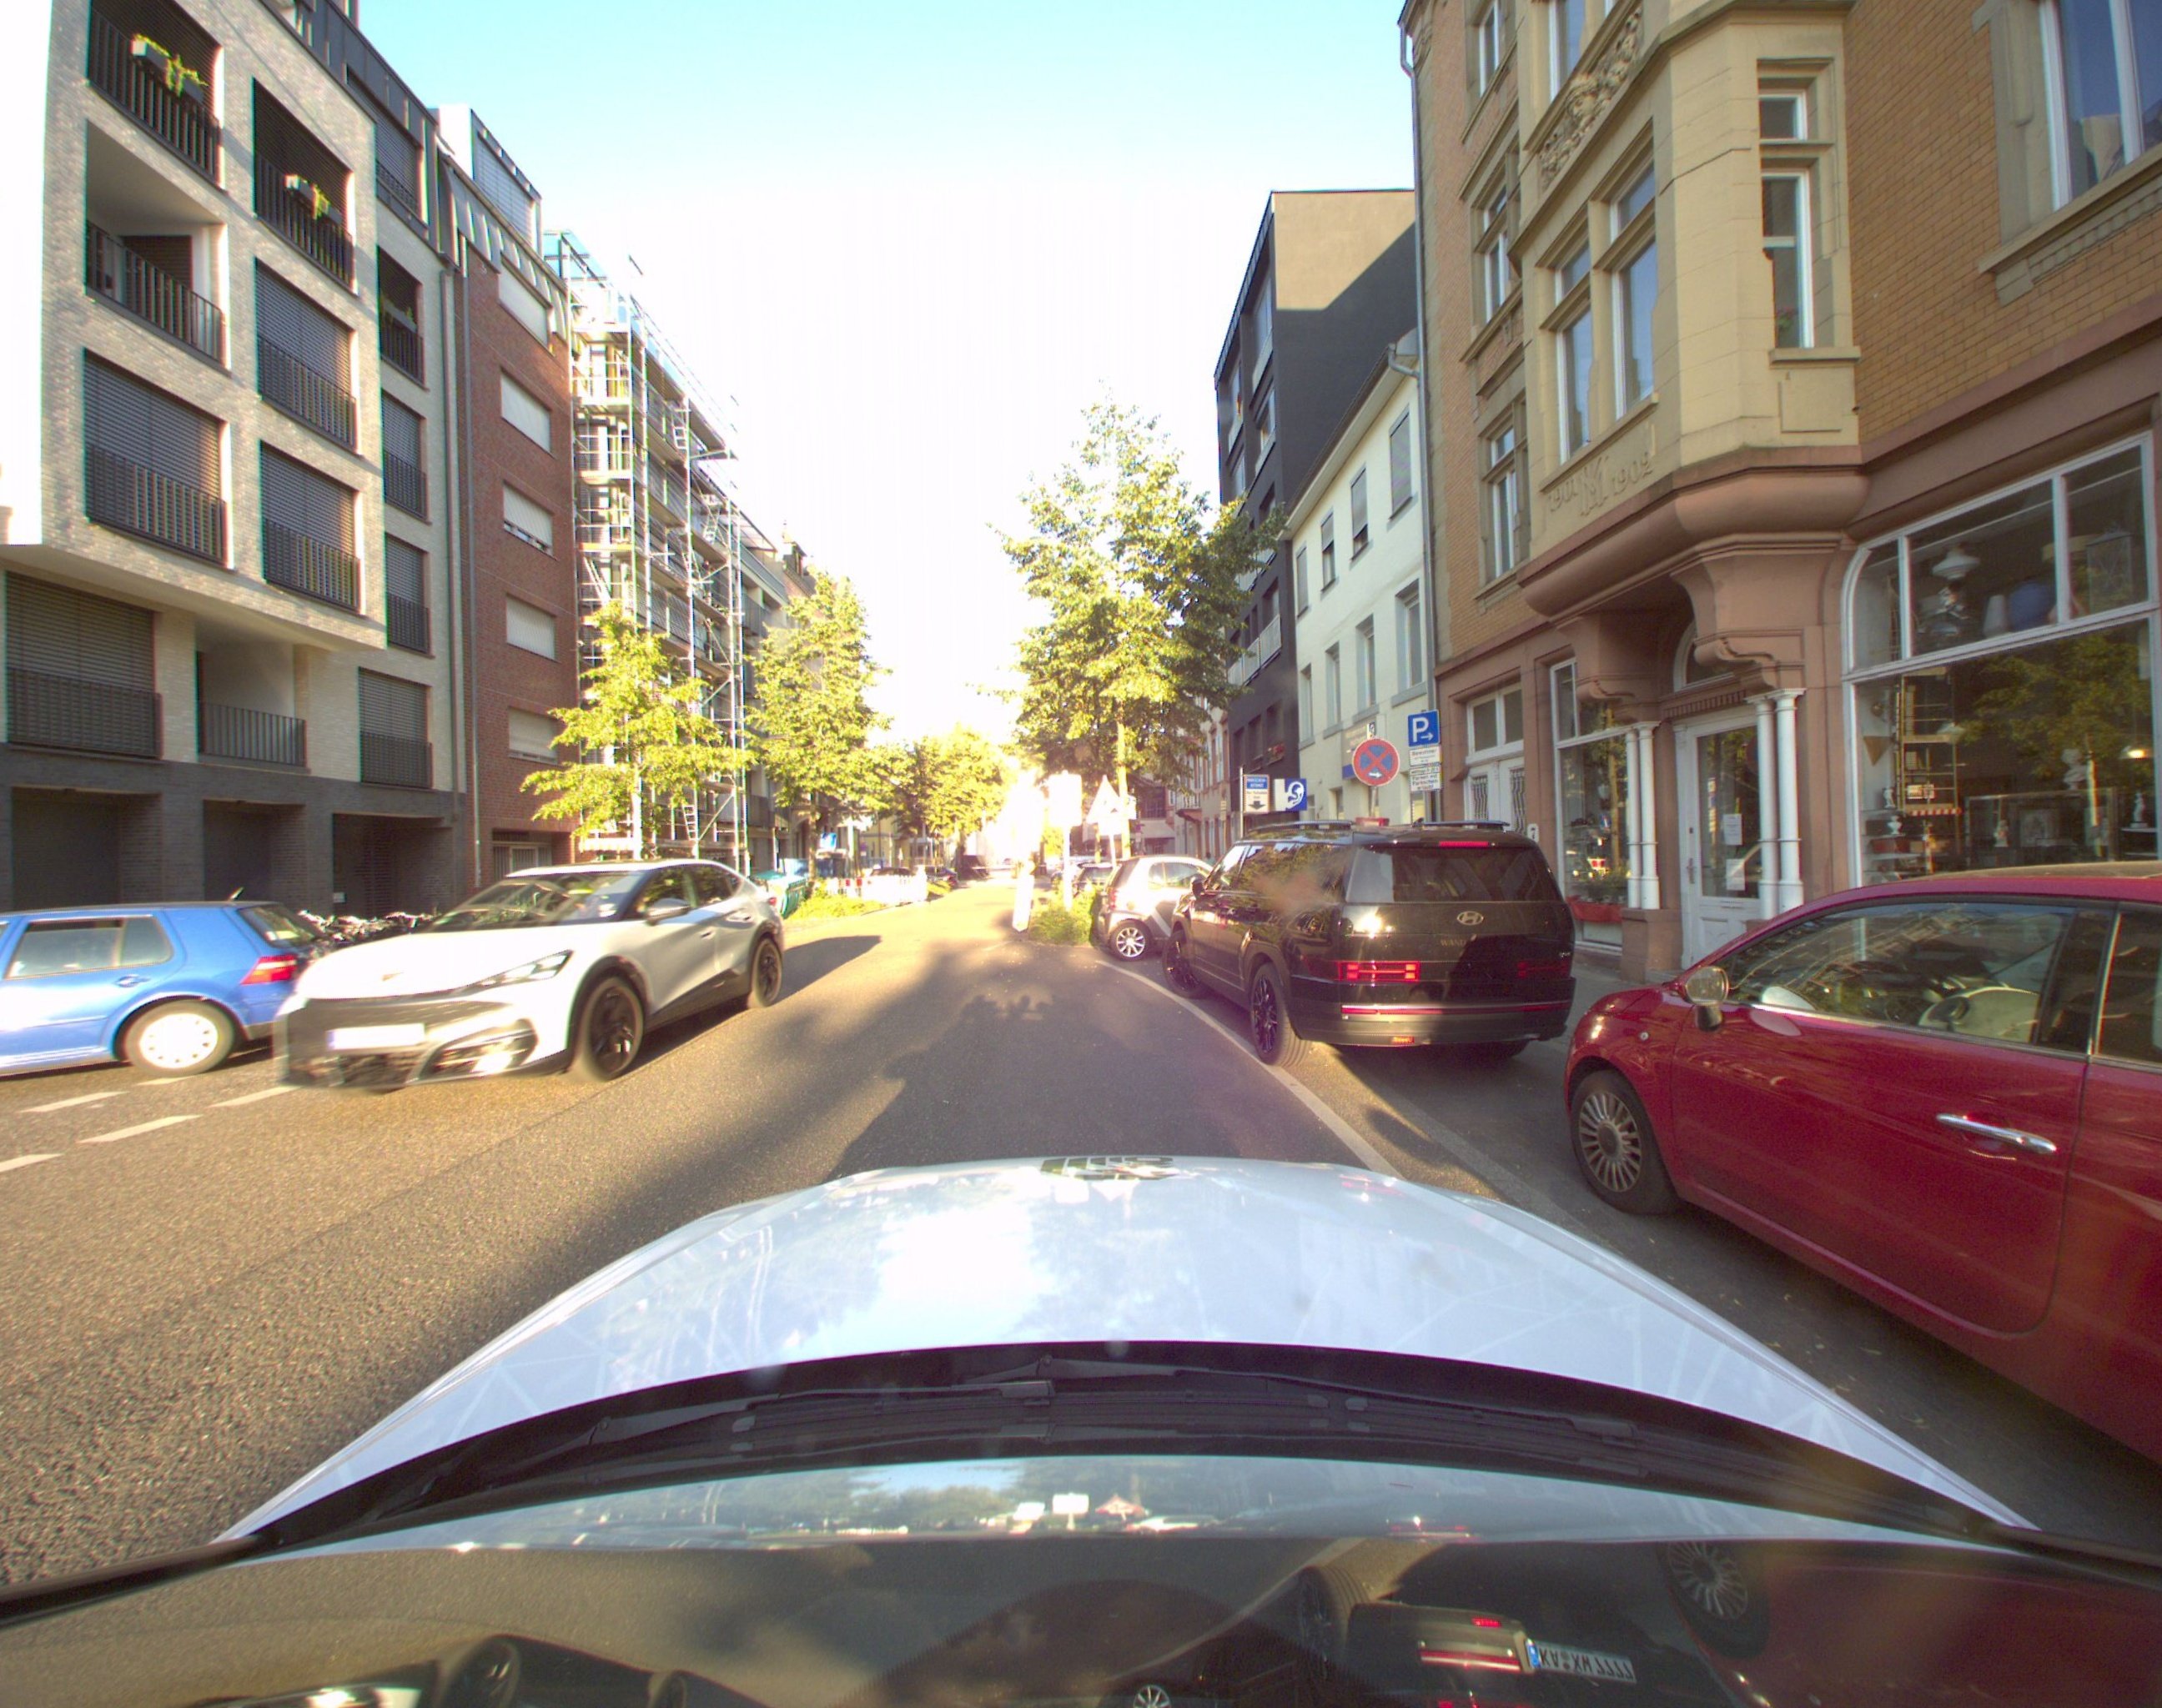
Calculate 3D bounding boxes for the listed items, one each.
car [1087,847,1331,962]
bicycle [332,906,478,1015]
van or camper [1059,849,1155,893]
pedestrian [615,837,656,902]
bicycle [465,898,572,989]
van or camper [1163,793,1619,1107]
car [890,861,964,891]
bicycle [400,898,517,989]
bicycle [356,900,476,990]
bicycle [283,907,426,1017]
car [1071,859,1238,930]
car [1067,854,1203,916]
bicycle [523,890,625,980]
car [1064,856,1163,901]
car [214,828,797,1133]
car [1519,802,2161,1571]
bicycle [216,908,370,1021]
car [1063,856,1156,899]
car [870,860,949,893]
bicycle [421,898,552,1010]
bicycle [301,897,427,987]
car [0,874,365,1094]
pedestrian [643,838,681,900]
[{"bbox_3d":[1.939,0.729,12.791,3.469,1.575,1.503,-2,0,-10],"label":"car"},{"bbox_3d":[-8.445,1.289,10.253,0.415,1.157,1.554,-2,0,5],"label":"bicycle"},{"bbox_3d":[1.206,0.779,38.687,4.430,2.005,1.856,0,-1,-3],"label":"van or camper"},{"bbox_3d":[-12.590,0.442,23.007,0.739,1.783,0.656,-2,-1,-1],"label":"pedestrian"},{"bbox_3d":[-8.266,1.278,12.035,0.485,1.163,1.552,-2,0,0],"label":"bicycle"},{"bbox_3d":[2.096,0.564,7.062,1.887,1.807,4.451,-1,0,-6],"label":"van or camper"},{"bbox_3d":[-9.120,1.284,48.590,3.972,1.684,1.891,-1,0,1],"label":"car"},{"bbox_3d":[-9.030,1.265,11.881,0.485,1.149,1.552,-2,0,0],"label":"bicycle"},{"bbox_3d":[-9.727,1.291,11.979,0.465,1.144,1.552,-2,0,0],"label":"bicycle"},{"bbox_3d":[-9.009,1.297,10.176,0.379,1.159,1.552,-2,0,0],"label":"bicycle"},{"bbox_3d":[1.758,0.976,20.441,3.986,1.670,1.856,0,-1,-3],"label":"car"},{"bbox_3d":[1.457,0.844,23.126,3.676,1.670,1.856,0,-1,-3],"label":"car"},{"bbox_3d":[-7.464,1.153,12.066,0.505,1.179,1.552,-2,0,0],"label":"bicycle"},{"bbox_3d":[1.205,0.918,31.284,3.676,1.670,1.856,0,-1,-3],"label":"car"},{"bbox_3d":[-4.189,0.764,7.025,1.867,1.697,4.320,-4,0,0],"label":"car"},{"bbox_3d":[2.971,0.673,2.434,1.520,1.570,3.422,-1,0,1],"label":"car"},{"bbox_3d":[-9.770,1.328,10.171,0.385,1.189,1.552,-2,0,0],"label":"bicycle"},{"bbox_3d":[1.132,0.944,33.594,3.676,1.670,1.856,0,-1,-3],"label":"car"},{"bbox_3d":[-9.631,1.261,45.902,3.972,1.684,1.891,-1,0,1],"label":"car"},{"bbox_3d":[-7.454,1.209,10.301,0.495,1.220,1.552,-2,0,0],"label":"bicycle"},{"bbox_3d":[-10.427,1.244,11.911,0.455,1.132,1.552,-2,0,0],"label":"bicycle"},{"bbox_3d":[-8.850,1.067,6.699,4.131,1.563,1.677,-3,-1,-30],"label":"car"},{"bbox_3d":[-12.417,0.434,24.153,0.739,1.783,0.656,-2,-1,-2],"label":"pedestrian"}]
